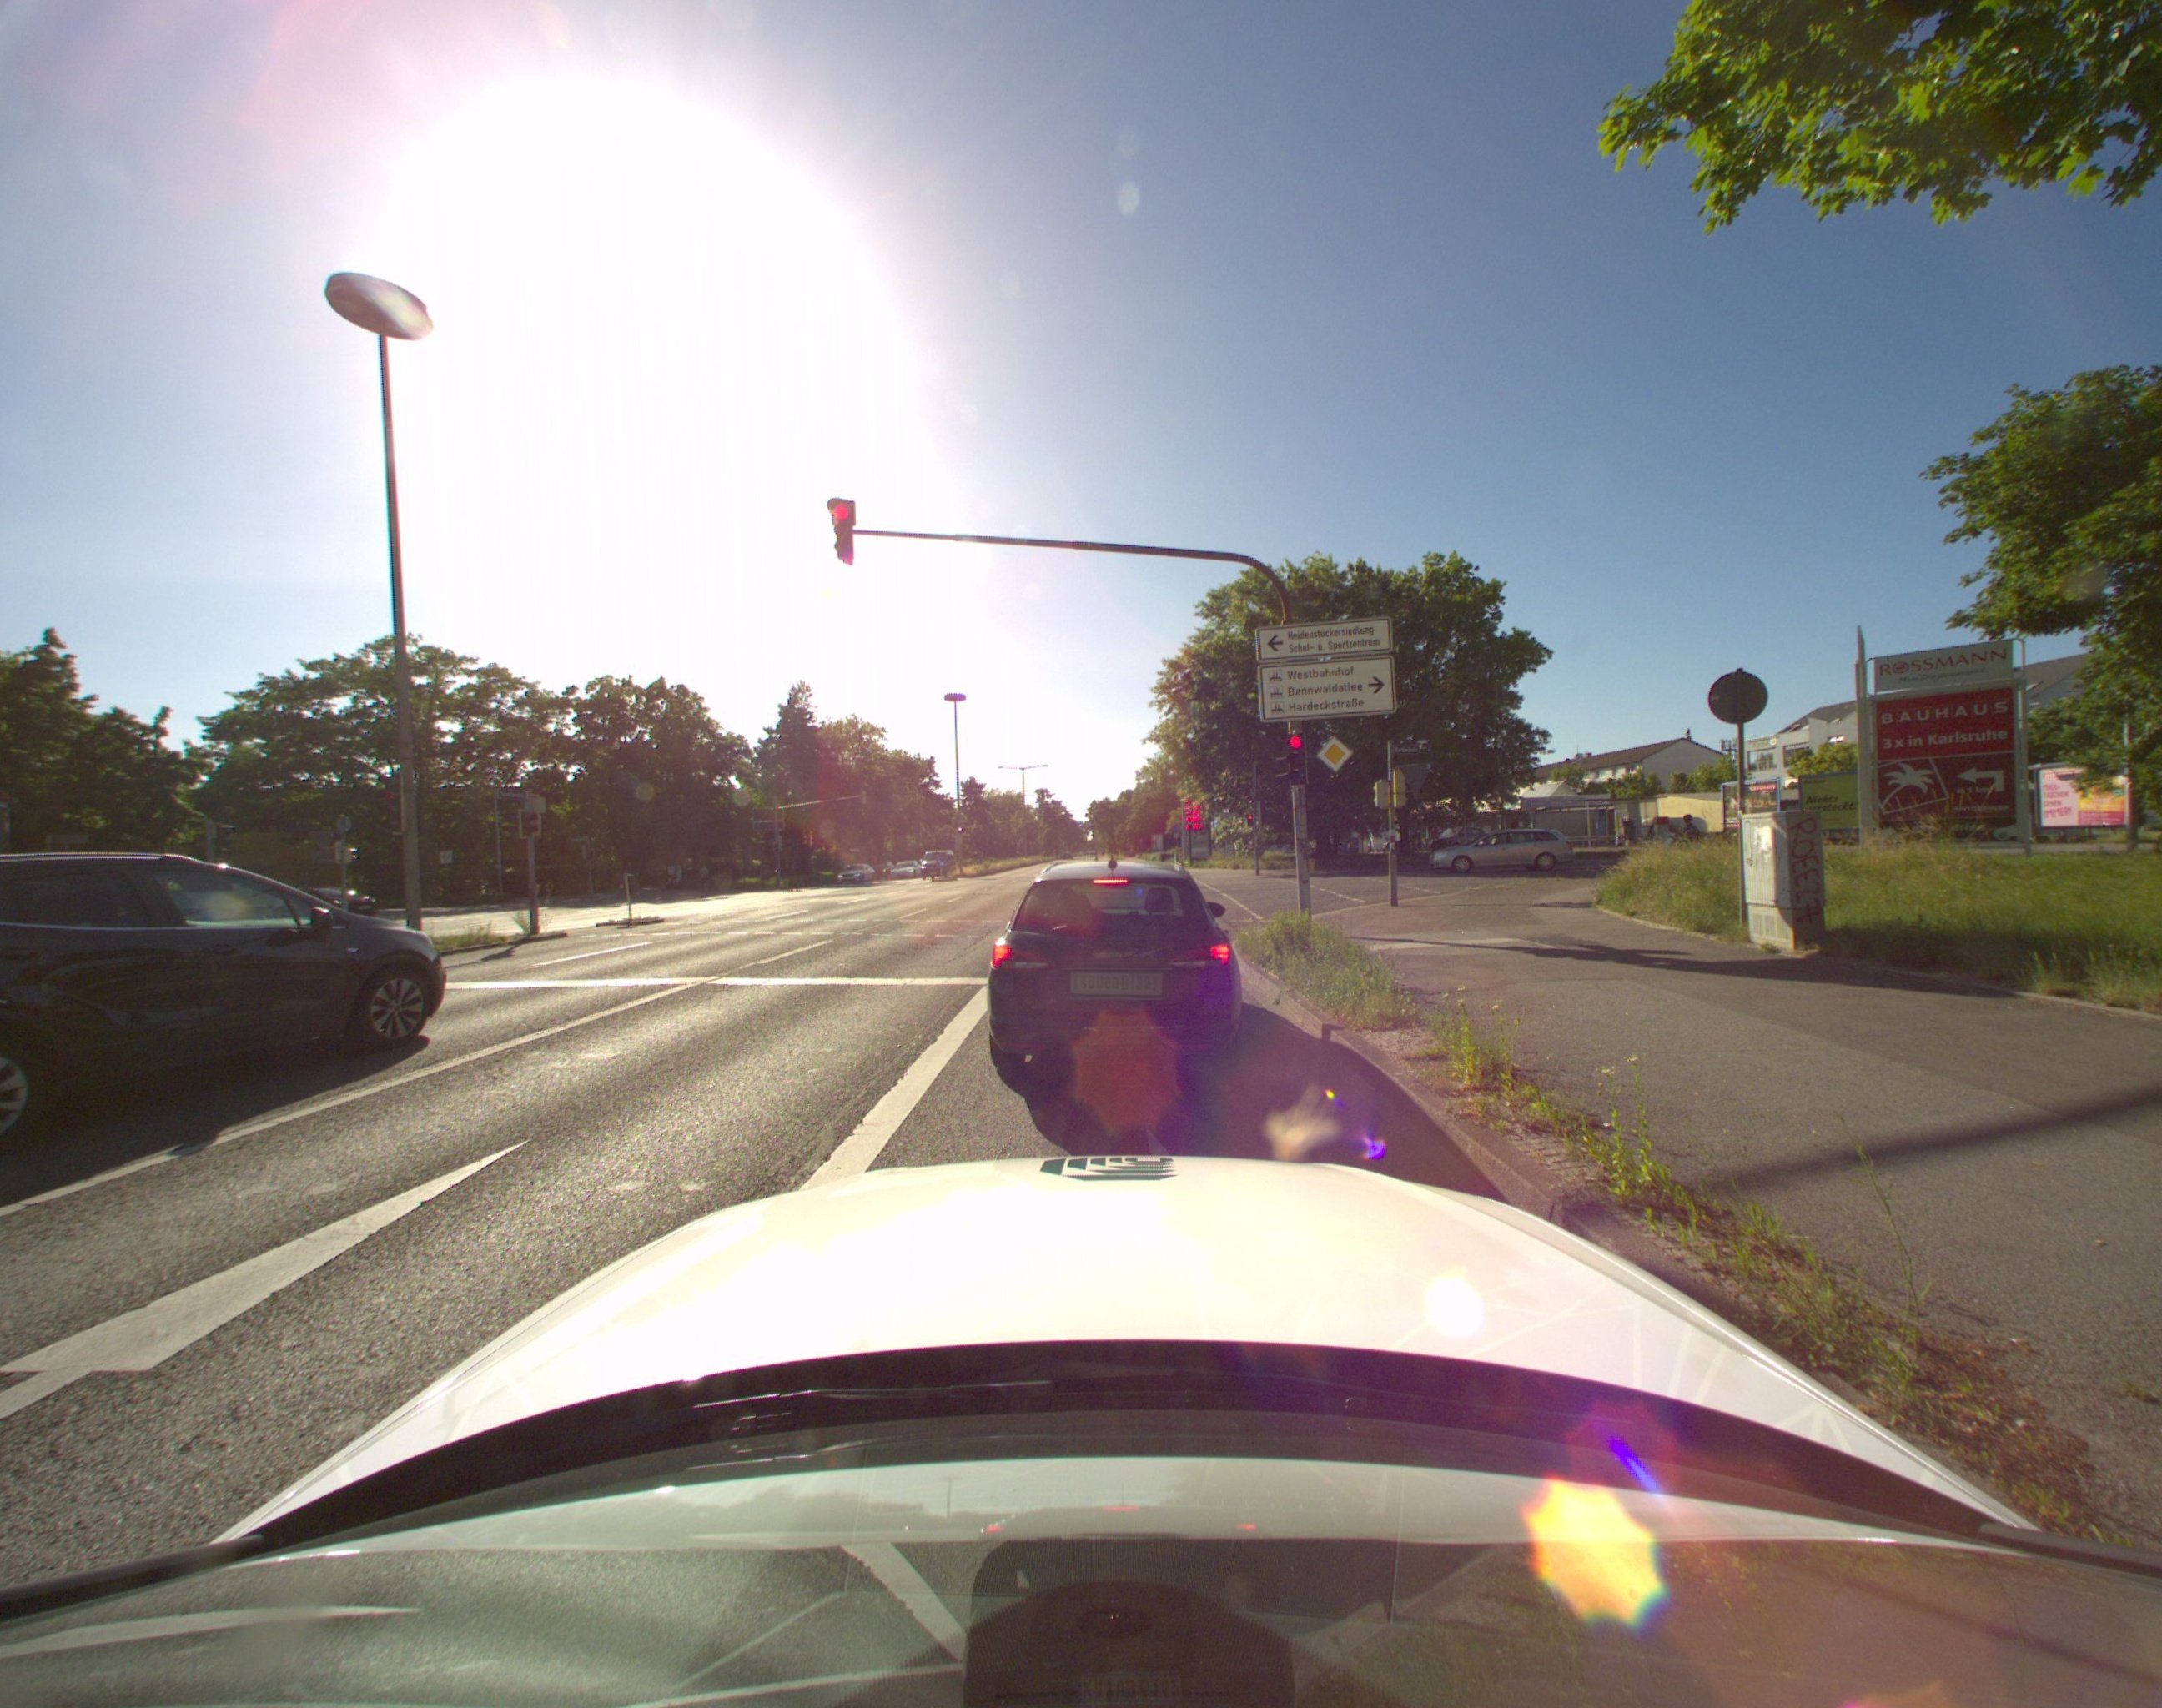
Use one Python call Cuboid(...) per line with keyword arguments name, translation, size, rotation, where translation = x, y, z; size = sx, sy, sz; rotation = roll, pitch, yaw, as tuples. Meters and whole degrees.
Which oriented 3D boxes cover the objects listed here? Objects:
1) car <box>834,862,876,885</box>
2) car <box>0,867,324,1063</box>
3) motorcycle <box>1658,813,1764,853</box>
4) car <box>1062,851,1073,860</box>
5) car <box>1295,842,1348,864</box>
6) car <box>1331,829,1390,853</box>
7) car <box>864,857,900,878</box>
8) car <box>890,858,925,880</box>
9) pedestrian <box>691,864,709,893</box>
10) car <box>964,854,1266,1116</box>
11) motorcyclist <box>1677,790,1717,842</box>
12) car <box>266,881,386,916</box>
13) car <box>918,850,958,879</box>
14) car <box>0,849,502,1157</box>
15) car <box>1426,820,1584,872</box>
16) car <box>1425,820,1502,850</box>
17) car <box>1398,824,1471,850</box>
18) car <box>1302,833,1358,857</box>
Cuboid(name="car", translation=(-17.269, 1.498, 62.396), size=(1.857, 1.684, 4.262), rotation=(0, 0, 2))
Cuboid(name="car", translation=(-9.999, 0.993, 7.664), size=(1.778, 1.610, 4.107), rotation=(-2, 0, 2))
Cuboid(name="motorcycle", translation=(21.152, -0.685, 27.425), size=(2.703, 1.270, 0.838), rotation=(0, -1, 17))
Cuboid(name="car", translation=(-2.572, 0.307, 159.070), size=(1.881, 1.552, 4.001), rotation=(-2, -1, 2))
Cuboid(name="car", translation=(19.070, -0.084, 64.717), size=(3.701, 1.685, 1.703), rotation=(0, -1, -1))
Cuboid(name="car", translation=(19.386, -0.885, 56.439), size=(3.860, 1.563, 1.787), rotation=(0, -1, -31))
Cuboid(name="car", translation=(-17.282, 1.126, 70.946), size=(1.986, 1.750, 4.002), rotation=(-1, 0, 2))
Cuboid(name="car", translation=(-13.824, 1.192, 65.053), size=(1.857, 1.684, 4.002), rotation=(0, 0, 2))
Cuboid(name="pedestrian", translation=(-24.977, 1.624, 53.413), size=(0.841, 1.835, 0.550), rotation=(-3, 0, 5))
Cuboid(name="car", translation=(0.255, 0.789, 6.723), size=(1.749, 1.509, 3.810), rotation=(-1, 0, 1))
Cuboid(name="motorcyclist", translation=(20.818, -1.268, 27.528), size=(0.853, 1.680, 0.838), rotation=(0, -1, 18))
Cuboid(name="car", translation=(-32.585, 1.893, 35.178), size=(3.892, 1.423, 1.876), rotation=(0, -1, 12))
Cuboid(name="car", translation=(-10.250, 0.724, 58.639), size=(1.986, 2.014, 4.001), rotation=(0, 0, 2))
Cuboid(name="car", translation=(-6.548, 0.823, 5.685), size=(1.689, 1.632, 4.419), rotation=(-2, 0, 2))
Cuboid(name="car", translation=(14.894, -0.250, 28.892), size=(4.586, 1.574, 2.007), rotation=(-2, -1, 13))
Cuboid(name="car", translation=(22.229, -1.076, 47.339), size=(3.846, 1.612, 1.794), rotation=(0, -1, -18))
Cuboid(name="car", translation=(21.412, -0.995, 49.407), size=(3.846, 1.482, 1.794), rotation=(0, -1, -18))
Cuboid(name="car", translation=(17.960, -0.622, 58.781), size=(3.729, 1.685, 1.690), rotation=(0, -1, -25))
